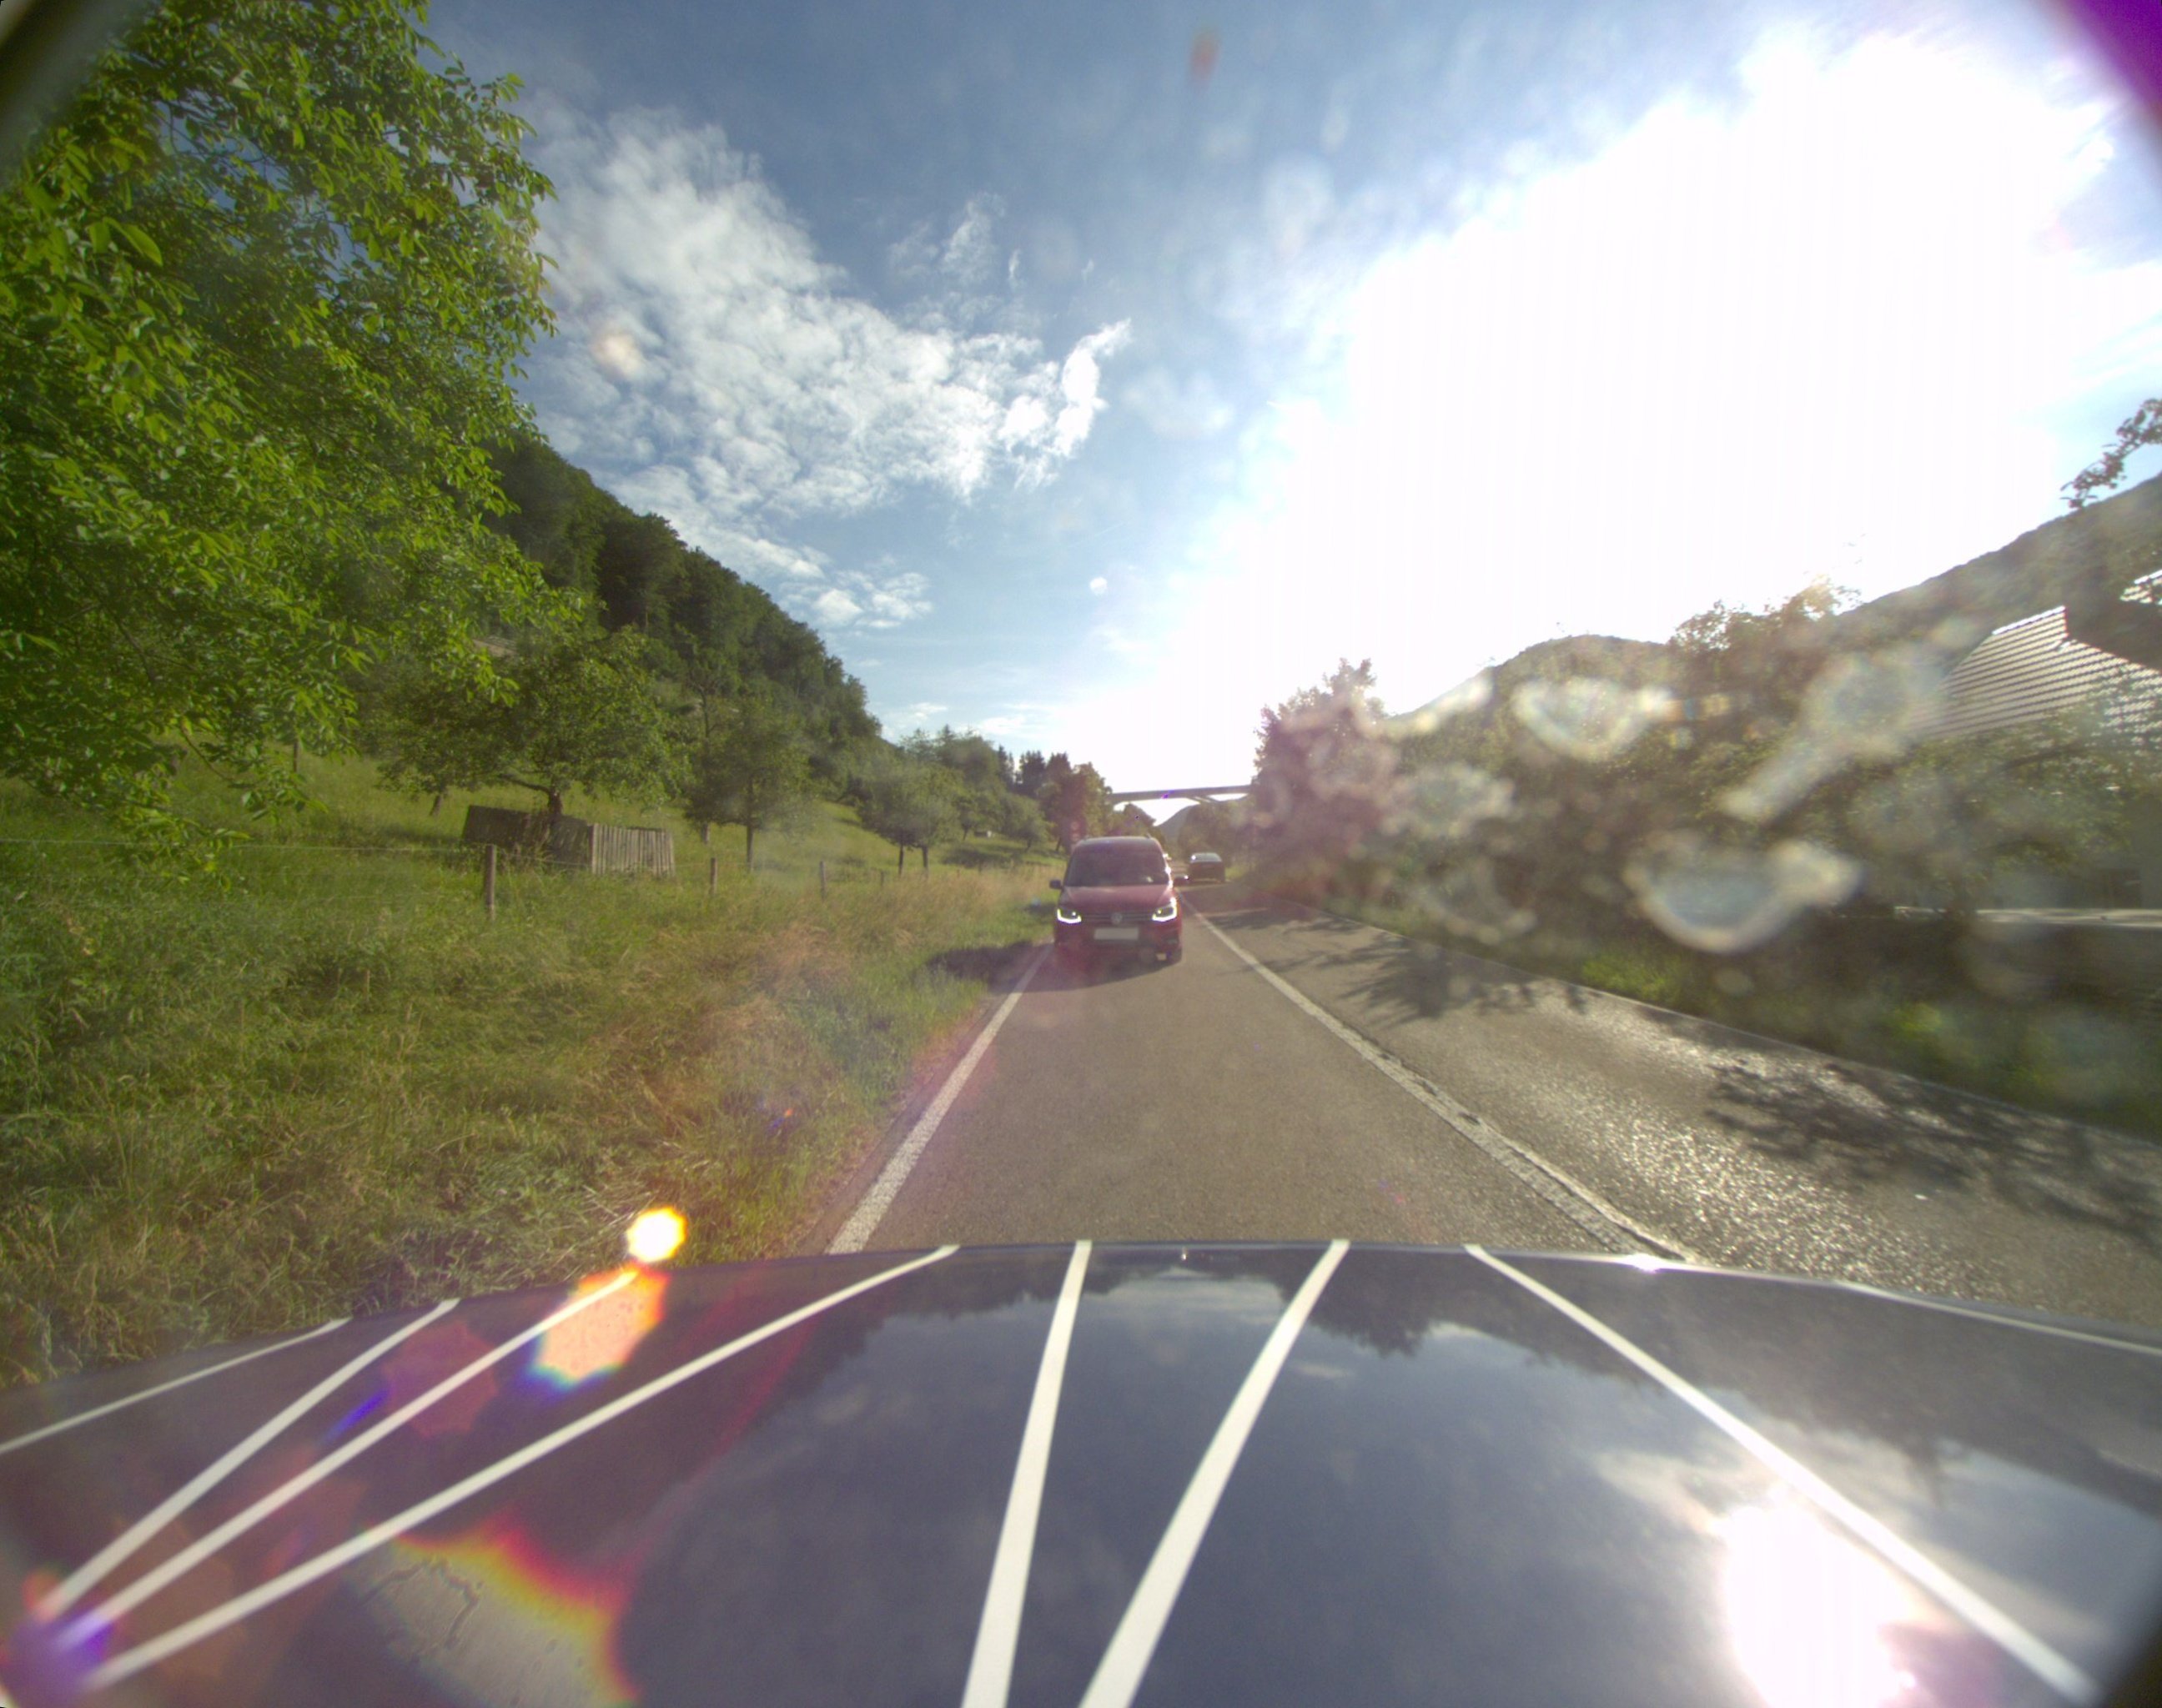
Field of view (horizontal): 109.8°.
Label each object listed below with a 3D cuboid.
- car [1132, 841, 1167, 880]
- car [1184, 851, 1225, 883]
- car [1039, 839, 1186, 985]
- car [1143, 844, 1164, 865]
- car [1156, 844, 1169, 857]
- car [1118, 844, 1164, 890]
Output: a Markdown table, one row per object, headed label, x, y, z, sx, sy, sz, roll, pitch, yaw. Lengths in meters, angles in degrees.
| label | x | y | z | sx | sy | sz | roll | pitch | yaw |
| --- | --- | --- | --- | --- | --- | --- | --- | --- | --- |
| car | 3.711 | 0.313 | 41.531 | 1.758 | 1.926 | 4.001 | -2 | 1 | 4 |
| car | 5.843 | 0.584 | 36.342 | 1.597 | 1.346 | 4.204 | -2 | 1 | 5 |
| car | 0.539 | 0.692 | 11.626 | 1.758 | 1.745 | 4.430 | -2 | 1 | 4 |
| car | 7.581 | 0.018 | 80.087 | 1.998 | 2.002 | 4.000 | -2 | 1 | 3 |
| car | 13.518 | -0.561 | 125.806 | 1.998 | 2.002 | 4.001 | -2 | 1 | 5 |
| car | 2.487 | 0.476 | 31.814 | 1.759 | 1.745 | 4.000 | -2 | 1 | 4 |
